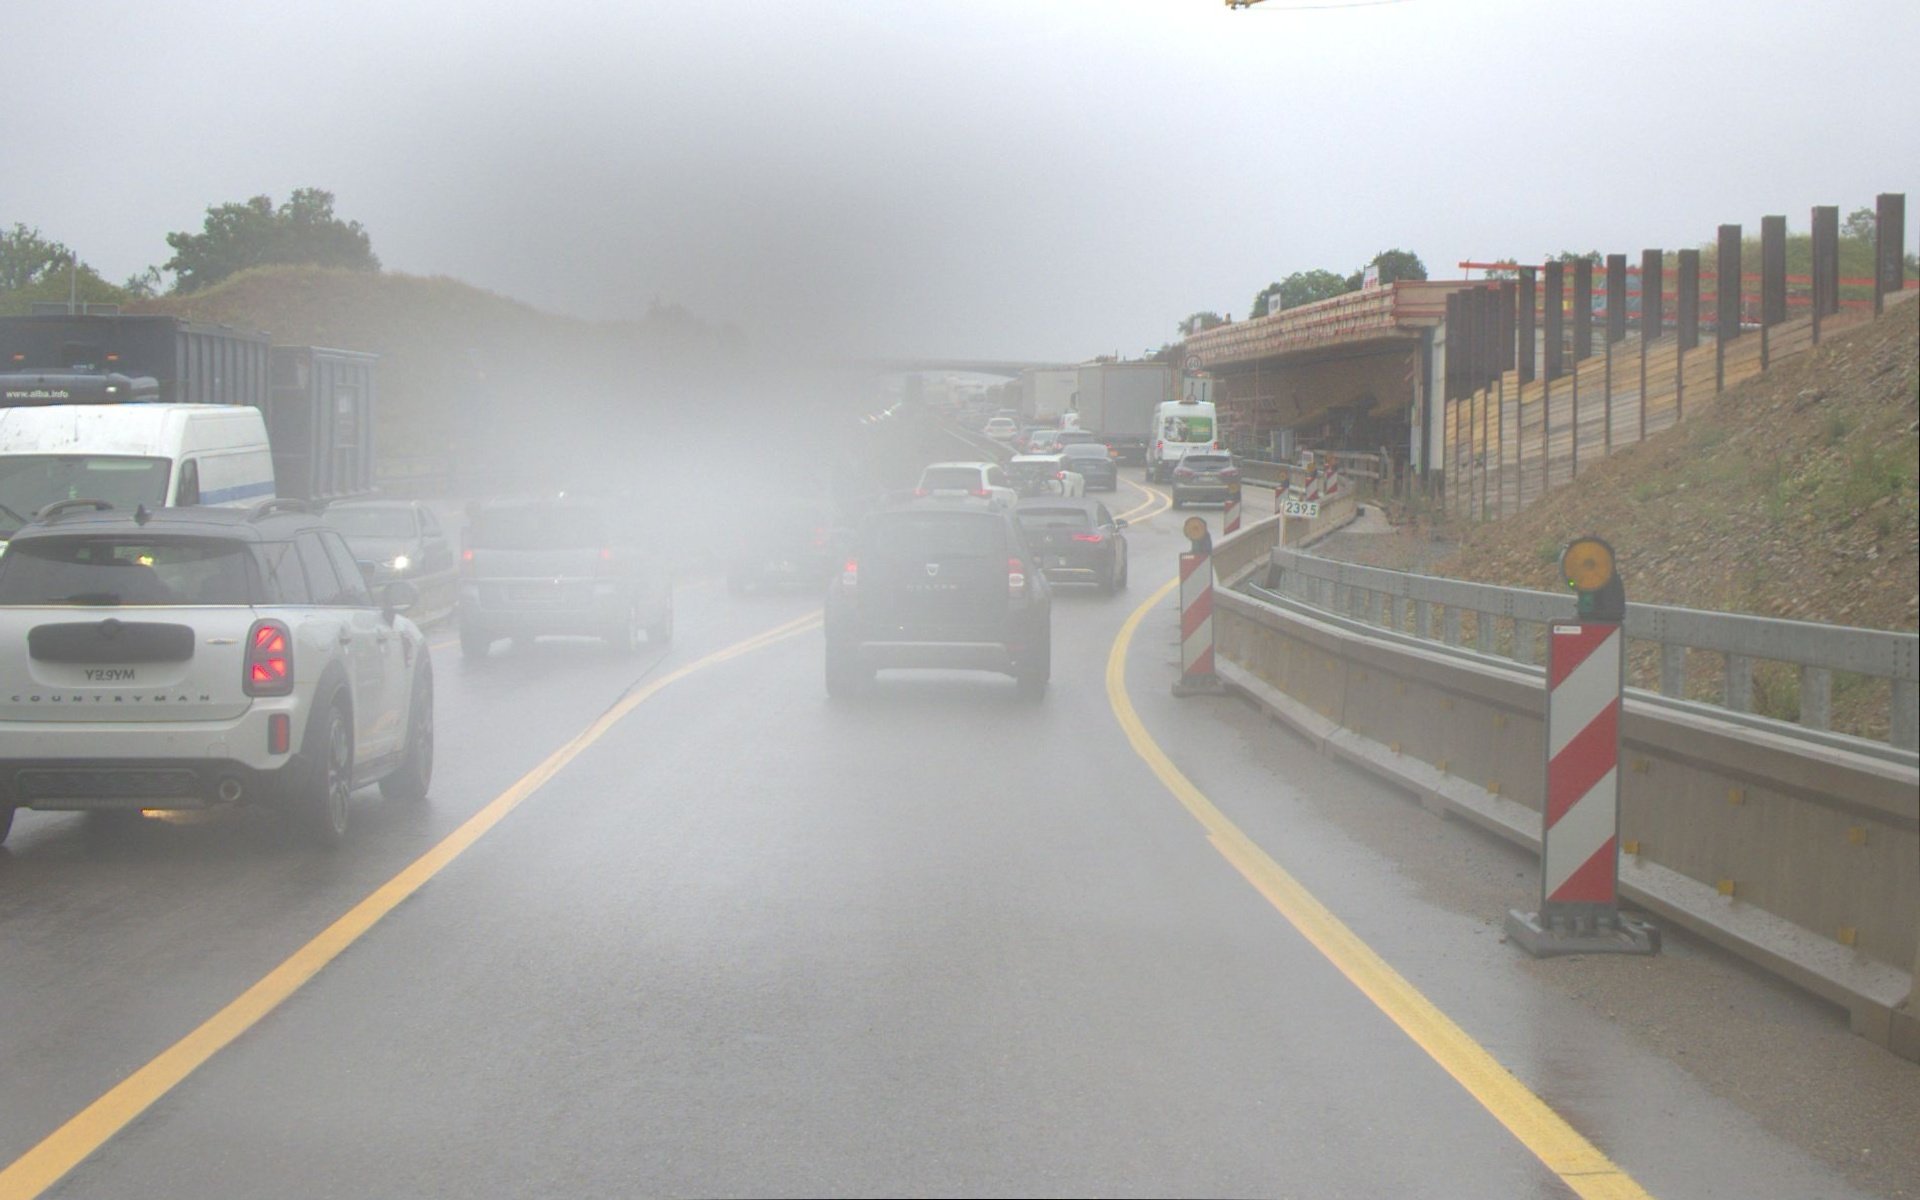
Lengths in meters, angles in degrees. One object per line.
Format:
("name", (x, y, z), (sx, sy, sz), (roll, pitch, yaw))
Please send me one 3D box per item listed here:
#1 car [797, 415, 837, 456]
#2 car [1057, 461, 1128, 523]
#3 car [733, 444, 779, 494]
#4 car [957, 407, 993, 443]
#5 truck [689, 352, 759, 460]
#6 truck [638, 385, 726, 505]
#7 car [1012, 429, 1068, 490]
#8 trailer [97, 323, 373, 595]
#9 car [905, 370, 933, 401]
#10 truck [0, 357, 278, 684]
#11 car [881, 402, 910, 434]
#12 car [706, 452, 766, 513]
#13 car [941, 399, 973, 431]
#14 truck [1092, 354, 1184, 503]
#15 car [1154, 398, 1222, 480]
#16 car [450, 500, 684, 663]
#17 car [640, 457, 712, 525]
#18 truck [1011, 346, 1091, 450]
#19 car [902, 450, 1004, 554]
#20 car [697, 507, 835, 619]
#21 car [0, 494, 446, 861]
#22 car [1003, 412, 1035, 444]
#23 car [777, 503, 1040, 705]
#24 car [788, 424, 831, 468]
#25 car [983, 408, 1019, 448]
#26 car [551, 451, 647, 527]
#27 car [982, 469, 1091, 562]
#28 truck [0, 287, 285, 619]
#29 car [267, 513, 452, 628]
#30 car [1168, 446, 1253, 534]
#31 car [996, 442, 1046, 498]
("car", (-8.656, -9.959, 208.821), (2.217, 2.362, 4.664), (1, 1, 0))
("car", (4.043, -3.299, 105.417), (1.993, 1.755, 3.815), (0, -1, -1))
("car", (-7.972, -5.119, 134.531), (1.623, 1.803, 3.637), (0, -1, 0))
("car", (0.854, -10.232, 201.234), (1.993, 2.007, 4.000), (-1, 1, -1))
("truck", (-12.456, -10.211, 182.091), (3.141, 5.399, 8.524), (1, 1, 0))
("truck", (-11.840, -6.574, 147.163), (3.083, 4.902, 8.564), (1, 1, 0))
("car", (3.117, -5.398, 132.804), (1.994, 2.155, 4.140), (0, -1, 4))
("trailer", (-11.417, -2.223, 55.090), (2.745, 3.956, 9.676), (0, 2, -2))
("car", (-3.076, -15.836, 254.255), (1.993, 2.007, 4.000), (0, -1, -2))
("truck", (-7.832, -0.722, 31.537), (2.147, 2.704, 6.017), (0, 1, -2))
("car", (-4.520, -12.726, 240.216), (1.993, 2.007, 4.000), (0, -1, -2))
("car", (-7.379, -3.868, 113.590), (1.785, 1.803, 4.499), (0, -1, -1))
("car", (-0.188, -12.271, 227.991), (1.993, 2.007, 4.000), (-1, 1, -1))
("truck", (7.172, -6.735, 137.340), (3.102, 5.408, 9.440), (0, -1, 6))
("car", (7.589, -5.344, 114.755), (1.993, 2.476, 4.981), (0, -1, 1))
("car", (-4.019, -0.162, 35.792), (1.993, 1.595, 4.140), (0, -1, -1))
("car", (-8.232, -3.143, 99.925), (1.785, 1.803, 4.499), (0, -1, -1))
("truck", (5.131, -11.462, 196.702), (3.803, 5.025, 12.922), (0, -1, -2))
("car", (-0.181, -2.000, 71.353), (1.993, 2.007, 3.893), (0, -1, -2))
("car", (-2.900, -0.524, 51.851), (1.993, 1.595, 4.141), (0, -1, -3))
("car", (-3.711, 0.332, 17.109), (1.816, 1.595, 4.308), (0, 0, -2))
("car", (4.062, -11.858, 237.124), (1.993, 2.007, 4.000), (0, -1, -2))
("car", (-0.432, 0.049, 29.345), (2.081, 1.595, 4.140), (0, -1, -1))
("car", (-8.480, -8.667, 193.850), (2.238, 2.350, 4.877), (1, 1, 0))
("car", (2.159, -9.165, 183.501), (1.849, 1.887, 4.021), (0, -1, 0))
("car", (-8.366, -2.580, 79.958), (1.737, 1.678, 5.552), (1, 2, -1))
("car", (1.913, -2.068, 85.119), (1.994, 2.155, 4.138), (0, -1, 11))
("truck", (-11.010, -1.905, 45.652), (2.641, 3.956, 9.215), (0, 2, -2))
("car", (-8.056, -0.440, 46.506), (1.868, 1.466, 4.671), (0, 2, -2))
("car", (6.594, -2.884, 90.990), (1.993, 2.155, 4.140), (0, -1, 1))
("car", (2.544, -5.429, 144.196), (1.993, 2.155, 4.140), (0, -1, -1))
